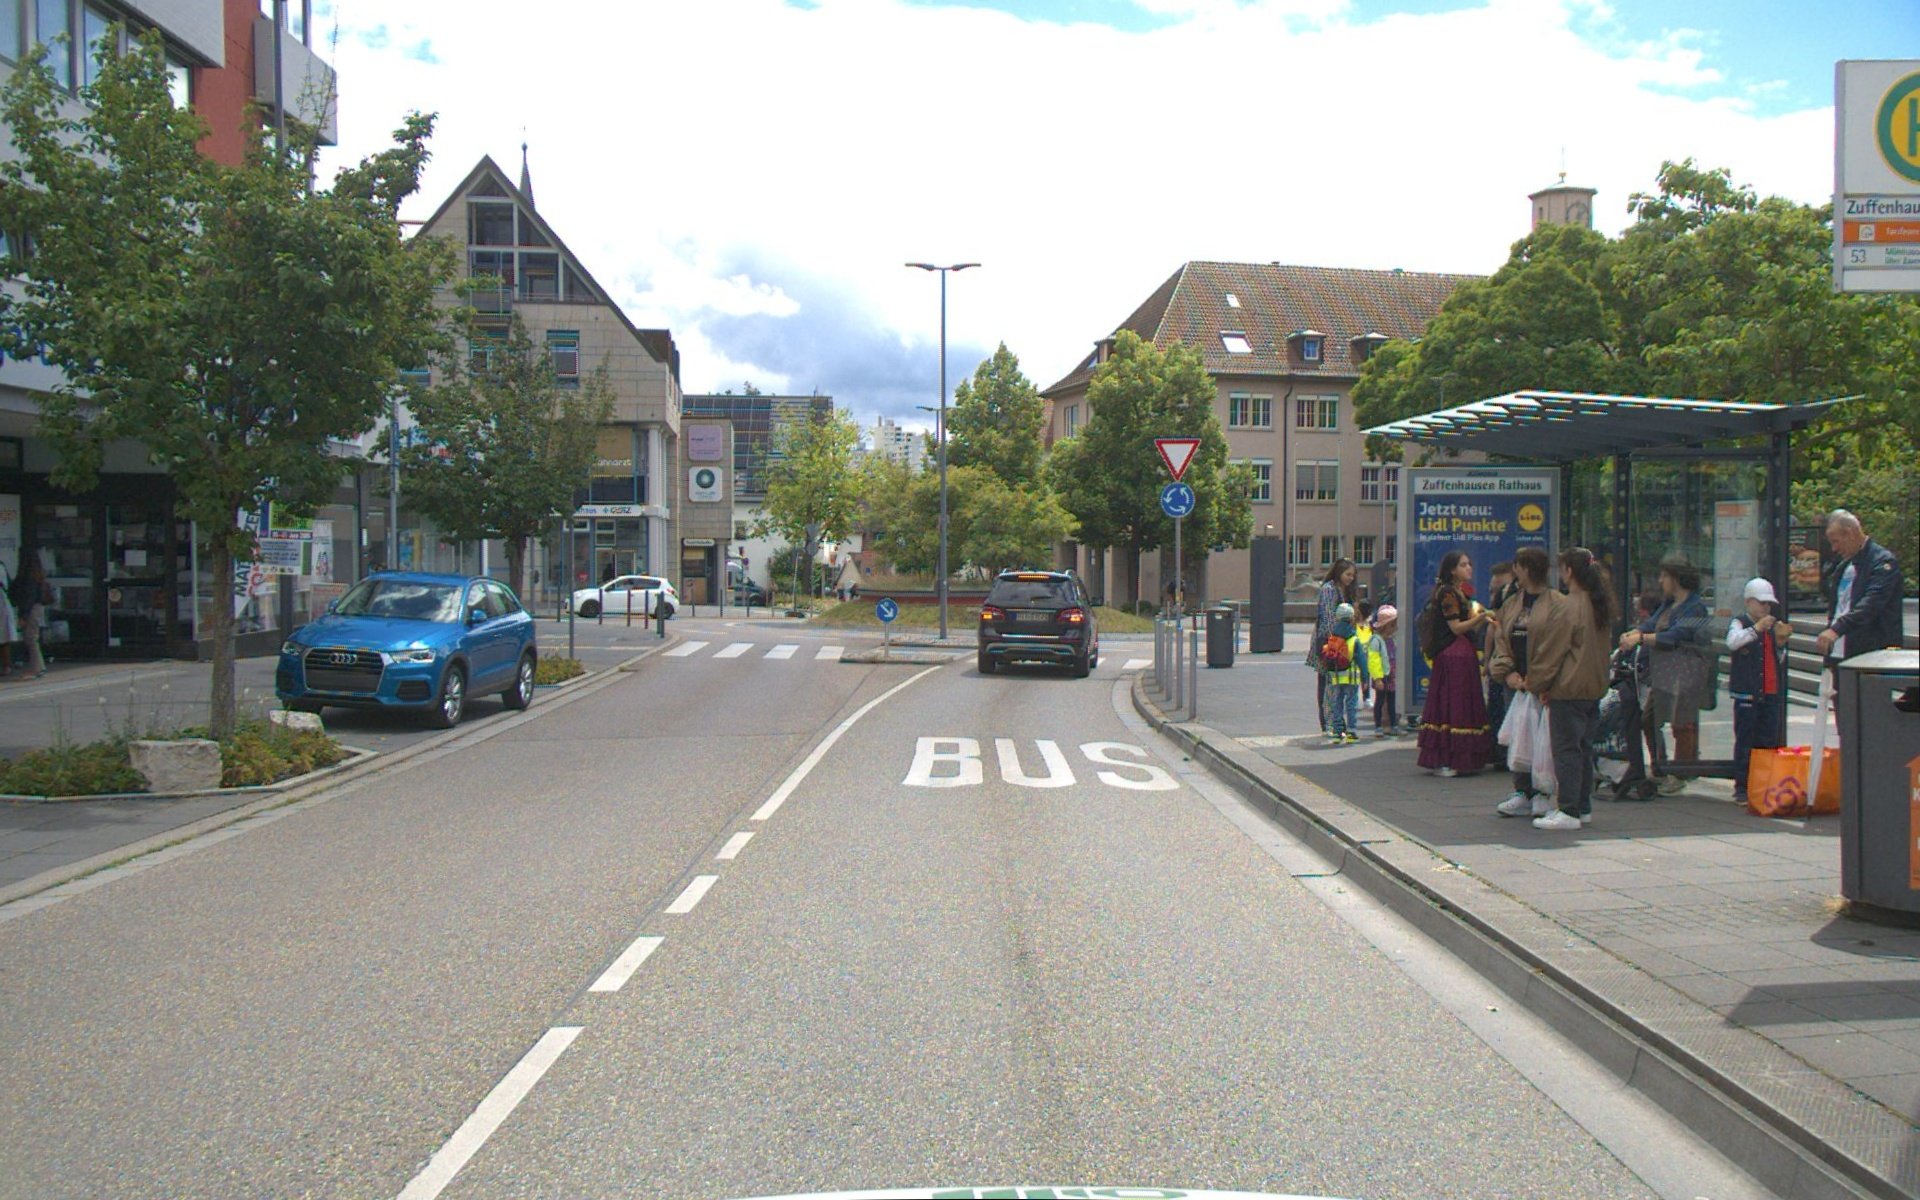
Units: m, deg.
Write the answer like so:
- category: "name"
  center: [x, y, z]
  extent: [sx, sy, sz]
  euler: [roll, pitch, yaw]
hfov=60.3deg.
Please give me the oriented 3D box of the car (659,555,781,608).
- category: "car"
  center: [-13.042, -0.961, 89.944]
  extent: [6.197, 2.605, 2.191]
  euler: [2, -3, -22]

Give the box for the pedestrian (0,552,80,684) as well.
- category: "pedestrian"
  center: [-11.350, 0.213, 20.394]
  extent: [0.574, 1.593, 0.644]
  euler: [-1, 0, 30]

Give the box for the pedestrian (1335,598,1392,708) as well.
- category: "pedestrian"
  center: [4.492, 0.587, 18.399]
  extent: [0.467, 1.192, 0.389]
  euler: [-2, 0, 37]

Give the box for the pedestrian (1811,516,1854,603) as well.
- category: "pedestrian"
  center: [13.305, -0.613, 25.239]
  extent: [0.355, 1.308, 0.641]
  euler: [0, 1, 4]

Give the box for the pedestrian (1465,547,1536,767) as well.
- category: "pedestrian"
  center: [3.997, 0.412, 12.232]
  extent: [0.387, 1.593, 0.351]
  euler: [-1, 0, 36]

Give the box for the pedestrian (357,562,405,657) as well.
- category: "pedestrian"
  center: [-10.025, 0.168, 28.660]
  extent: [0.575, 1.616, 0.638]
  euler: [1, 0, 0]

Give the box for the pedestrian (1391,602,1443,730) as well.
- category: "pedestrian"
  center: [4.286, 0.610, 15.503]
  extent: [0.316, 1.172, 0.317]
  euler: [-2, 0, -40]

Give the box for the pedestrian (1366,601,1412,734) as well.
- category: "pedestrian"
  center: [3.860, 0.605, 14.895]
  extent: [0.291, 1.172, 0.293]
  euler: [-2, 0, -2]

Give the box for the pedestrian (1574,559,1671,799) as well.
- category: "pedestrian"
  center: [4.169, 0.488, 10.426]
  extent: [0.370, 1.467, 0.415]
  euler: [-2, 0, -7]

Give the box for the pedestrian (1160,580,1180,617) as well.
- category: "pedestrian"
  center: [9.184, -0.075, 72.233]
  extent: [0.625, 1.549, 0.575]
  euler: [4, 5, 34]

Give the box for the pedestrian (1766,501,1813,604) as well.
- category: "pedestrian"
  center: [12.560, -0.719, 25.054]
  extent: [0.492, 1.534, 0.454]
  euler: [0, 1, 4]

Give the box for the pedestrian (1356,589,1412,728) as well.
- category: "pedestrian"
  center: [3.922, 0.536, 15.299]
  extent: [0.318, 1.259, 0.332]
  euler: [-3, 0, -20]

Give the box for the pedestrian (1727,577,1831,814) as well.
- category: "pedestrian"
  center: [4.726, 0.538, 9.558]
  extent: [0.381, 1.329, 0.355]
  euler: [-2, 0, 1]

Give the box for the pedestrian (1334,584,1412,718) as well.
- category: "pedestrian"
  center: [4.214, 0.514, 16.900]
  extent: [0.428, 1.326, 0.592]
  euler: [-2, 0, -34]

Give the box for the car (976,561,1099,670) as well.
- category: "car"
  center: [1.339, 0.281, 29.119]
  extent: [1.985, 1.757, 4.434]
  euler: [1, -1, 2]

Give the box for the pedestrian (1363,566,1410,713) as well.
- category: "pedestrian"
  center: [4.560, 0.413, 17.702]
  extent: [0.381, 1.543, 0.390]
  euler: [-2, 0, 6]

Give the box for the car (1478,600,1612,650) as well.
- category: "car"
  center: [20.020, 0.848, 56.776]
  extent: [4.164, 1.604, 1.851]
  euler: [-1, 0, 15]

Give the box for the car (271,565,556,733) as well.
- category: "car"
  center: [-6.095, 0.481, 18.992]
  extent: [1.659, 1.627, 4.332]
  euler: [3, 0, 2]

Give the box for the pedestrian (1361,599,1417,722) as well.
- category: "pedestrian"
  center: [4.230, 0.594, 16.312]
  extent: [0.331, 1.187, 0.347]
  euler: [-2, -1, -32]

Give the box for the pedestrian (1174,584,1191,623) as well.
- category: "pedestrian"
  center: [9.668, 0.144, 71.793]
  extent: [0.562, 1.636, 0.436]
  euler: [4, 5, 34]

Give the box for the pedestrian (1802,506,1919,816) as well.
- category: "pedestrian"
  center: [5.227, 0.335, 9.455]
  extent: [0.501, 1.710, 0.576]
  euler: [-1, 0, -1]

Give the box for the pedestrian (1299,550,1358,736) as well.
- category: "pedestrian"
  center: [3.337, 0.384, 15.001]
  extent: [0.379, 1.648, 0.469]
  euler: [-2, 0, 1]

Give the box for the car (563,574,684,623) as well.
- category: "car"
  center: [-11.546, -0.064, 56.686]
  extent: [3.819, 1.558, 1.647]
  euler: [-1, 0, -23]

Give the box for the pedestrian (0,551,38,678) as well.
- category: "pedestrian"
  center: [-12.148, 0.185, 21.022]
  extent: [0.499, 1.593, 0.586]
  euler: [-1, 0, 0]

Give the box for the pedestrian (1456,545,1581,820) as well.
- category: "pedestrian"
  center: [3.323, 0.468, 9.843]
  extent: [0.534, 1.576, 0.483]
  euler: [-1, 0, 43]

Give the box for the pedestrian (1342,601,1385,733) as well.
- category: "pedestrian"
  center: [3.670, 0.603, 15.042]
  extent: [0.266, 1.181, 0.263]
  euler: [-2, 0, 37]

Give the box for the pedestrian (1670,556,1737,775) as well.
- category: "pedestrian"
  center: [5.144, 0.442, 11.440]
  extent: [0.272, 1.484, 0.316]
  euler: [-1, 0, -36]

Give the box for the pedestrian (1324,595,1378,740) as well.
- category: "pedestrian"
  center: [3.427, 0.584, 14.498]
  extent: [0.394, 1.247, 0.388]
  euler: [-1, 0, 21]

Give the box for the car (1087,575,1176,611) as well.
- category: "car"
  center: [7.966, -0.331, 76.835]
  extent: [3.819, 1.558, 1.647]
  euler: [-1, 0, -23]

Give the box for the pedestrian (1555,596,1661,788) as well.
- category: "pedestrian"
  center: [4.334, 0.595, 11.084]
  extent: [0.370, 1.232, 0.633]
  euler: [-2, 0, -7]

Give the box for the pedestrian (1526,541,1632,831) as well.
- category: "pedestrian"
  center: [3.486, 0.465, 9.302]
  extent: [0.502, 1.576, 0.487]
  euler: [-1, 0, 25]

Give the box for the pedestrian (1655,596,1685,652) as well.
- category: "pedestrian"
  center: [20.500, 0.690, 47.765]
  extent: [0.539, 1.540, 0.788]
  euler: [-1, 3, 1]

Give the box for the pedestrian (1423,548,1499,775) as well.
- category: "pedestrian"
  center: [3.611, 0.429, 11.923]
  extent: [0.486, 1.593, 0.502]
  euler: [-1, 0, 17]
